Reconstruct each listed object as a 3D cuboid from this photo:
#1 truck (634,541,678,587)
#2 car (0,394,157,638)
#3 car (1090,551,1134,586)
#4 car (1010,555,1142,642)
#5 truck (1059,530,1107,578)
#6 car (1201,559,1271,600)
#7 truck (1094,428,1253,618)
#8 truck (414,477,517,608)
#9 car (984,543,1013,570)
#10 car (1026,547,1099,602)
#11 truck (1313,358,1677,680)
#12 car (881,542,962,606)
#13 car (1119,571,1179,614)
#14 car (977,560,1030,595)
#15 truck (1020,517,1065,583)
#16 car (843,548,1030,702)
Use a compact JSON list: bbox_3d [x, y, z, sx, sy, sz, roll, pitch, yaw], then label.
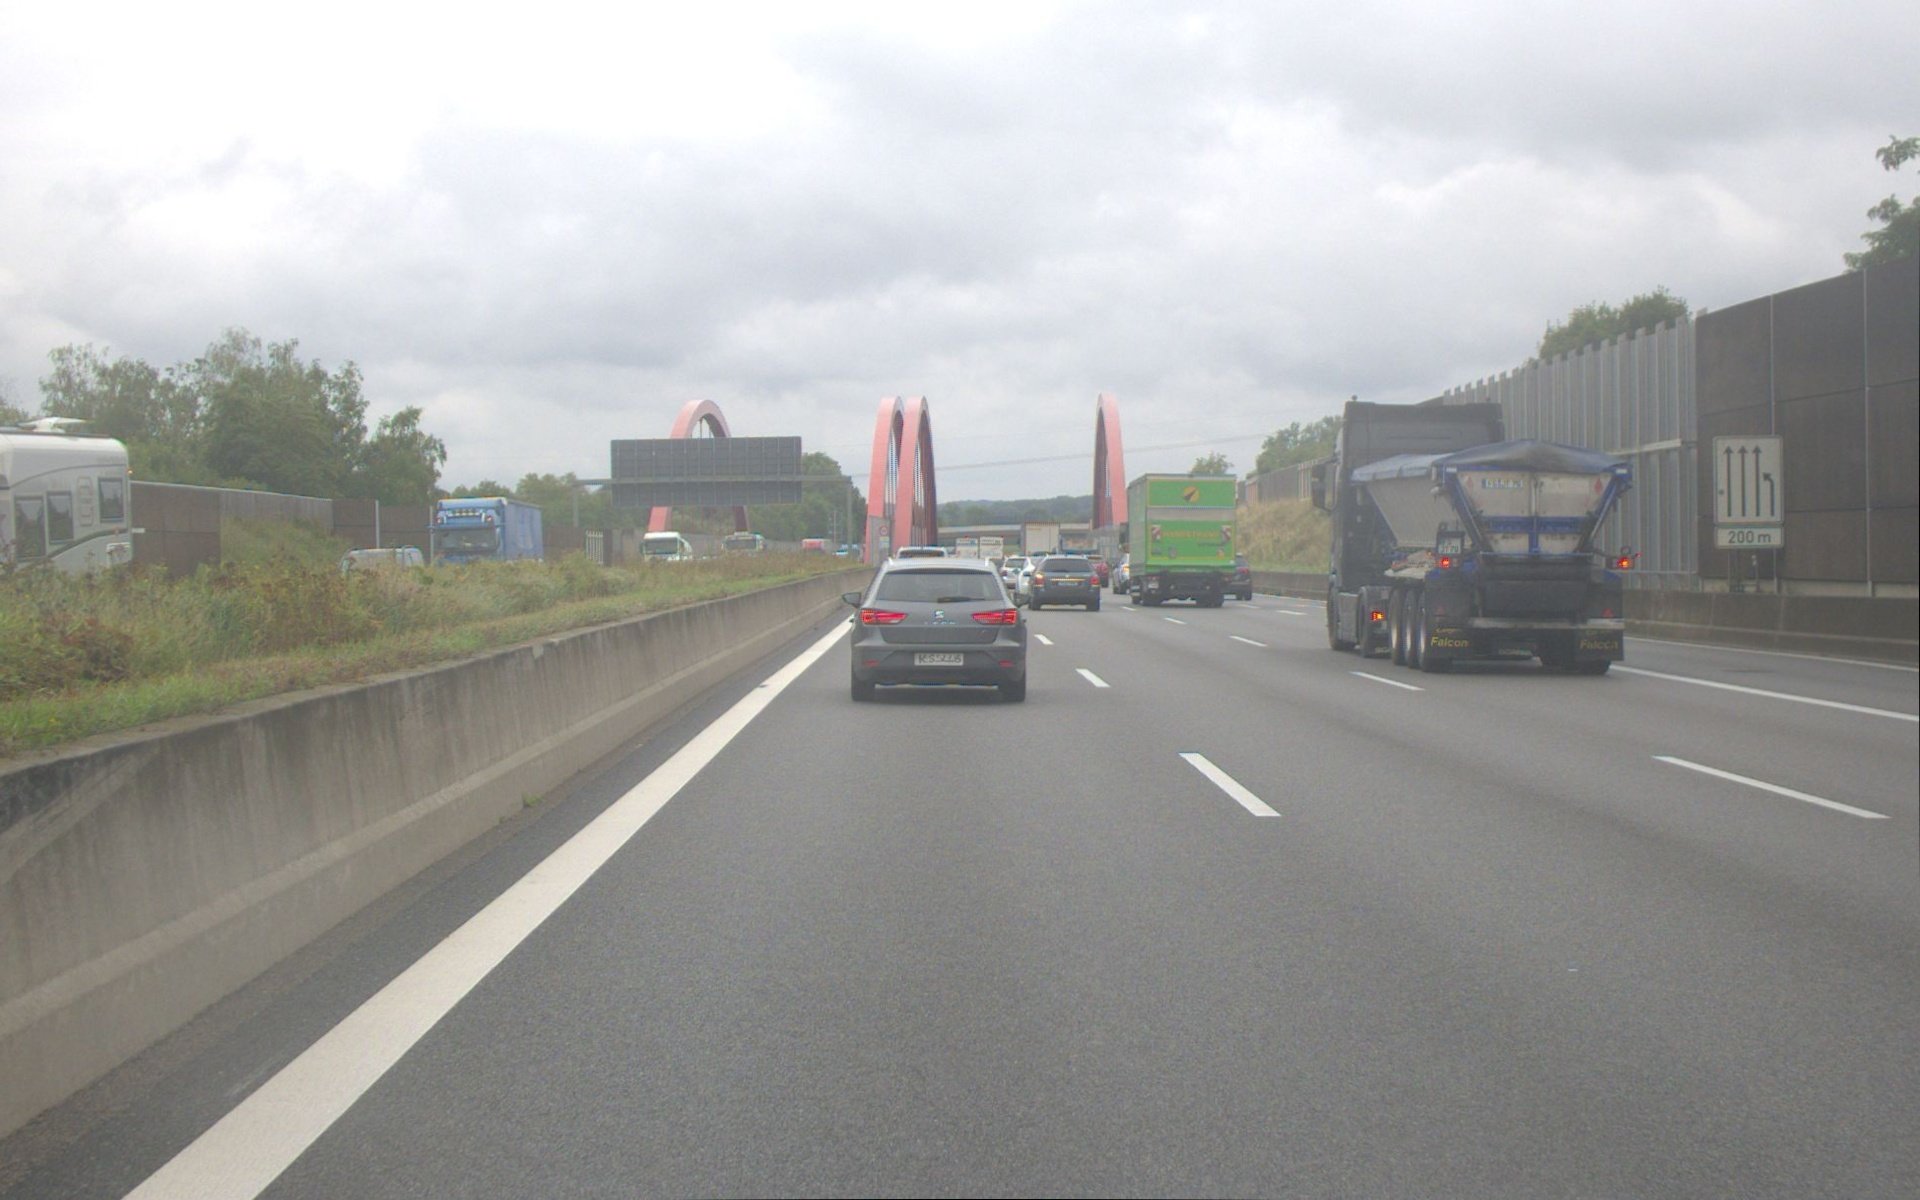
[{"bbox_3d":[-20.172,-2.386,228.010,2.621,3.009,5.614,1,1,-3],"label":"truck"},{"bbox_3d":[-9.793,-0.769,33.085,2.373,2.185,7.724,0,1,-1],"label":"car"},{"bbox_3d":[7.485,-1.551,169.539,1.957,1.641,4.000,1,1,0],"label":"car"},{"bbox_3d":[1.873,-0.050,56.762,1.993,1.349,4.000,0,1,0],"label":"car"},{"bbox_3d":[6.627,-2.486,185.901,2.361,2.498,6.144,1,1,1],"label":"truck"},{"bbox_3d":[9.443,-0.724,117.879,1.993,1.349,4.000,-1,1,-1],"label":"car"},{"bbox_3d":[6.212,-2.214,101.995,3.997,5.248,11.220,1,1,1],"label":"truck"},{"bbox_3d":[-18.887,-2.203,131.604,3.188,4.842,5.419,1,1,-1],"label":"truck"},{"bbox_3d":[2.643,-2.967,236.483,1.993,1.809,4.000,1,1,0],"label":"car"},{"bbox_3d":[2.662,-0.687,89.796,1.782,1.401,3.626,1,1,0],"label":"car"},{"bbox_3d":[7.263,-1.072,48.835,3.089,3.936,12.945,-1,1,0],"label":"truck"},{"bbox_3d":[-0.988,-0.683,88.126,1.993,1.579,4.000,-1,1,-1],"label":"car"},{"bbox_3d":[7.471,-0.331,136.267,1.993,1.613,5.328,1,1,0],"label":"car"},{"bbox_3d":[1.728,-0.907,137.708,1.993,1.349,4.000,-1,1,-1],"label":"car"},{"bbox_3d":[6.027,-3.662,251.579,3.044,4.718,7.680,1,1,1],"label":"truck"},{"bbox_3d":[-0.199,0.211,34.619,1.764,1.448,4.000,1,1,1],"label":"car"}]
